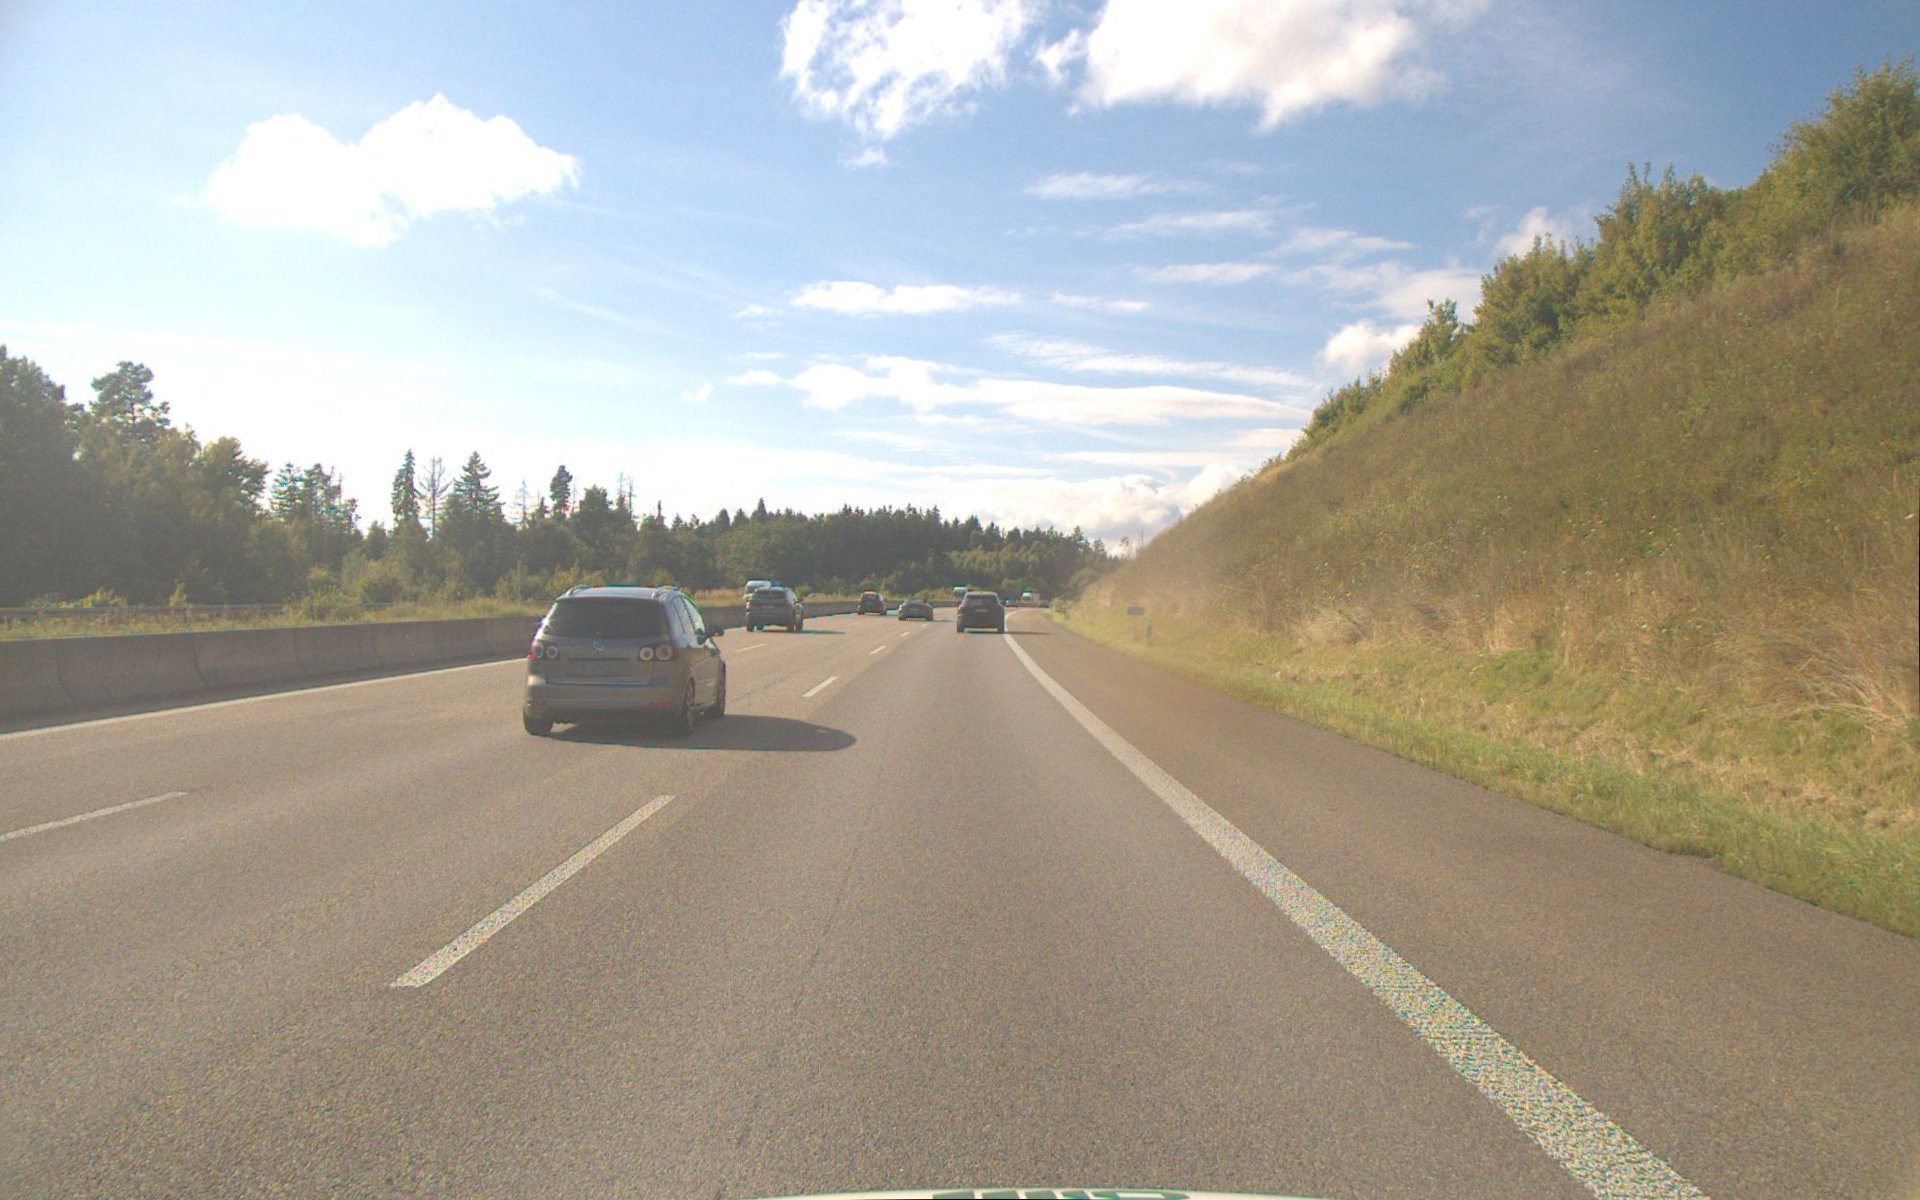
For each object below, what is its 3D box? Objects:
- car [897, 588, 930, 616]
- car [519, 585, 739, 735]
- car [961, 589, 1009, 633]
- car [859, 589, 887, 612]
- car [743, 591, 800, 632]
[{"bbox_3d":[-2.665,0.094,94.097,1.836,1.523,3.878,1,0,-2],"label":"car"},{"bbox_3d":[-3.669,0.614,18.980,1.836,1.523,3.878,1,0,-2],"label":"car"},{"bbox_3d":[1.000,0.436,67.078,1.835,1.704,3.889,1,0,-1],"label":"car"},{"bbox_3d":[-5.952,0.037,113.333,1.836,1.523,3.878,1,0,-2],"label":"car"},{"bbox_3d":[-7.202,0.412,63.455,1.836,1.523,3.878,1,0,-2],"label":"car"}]
